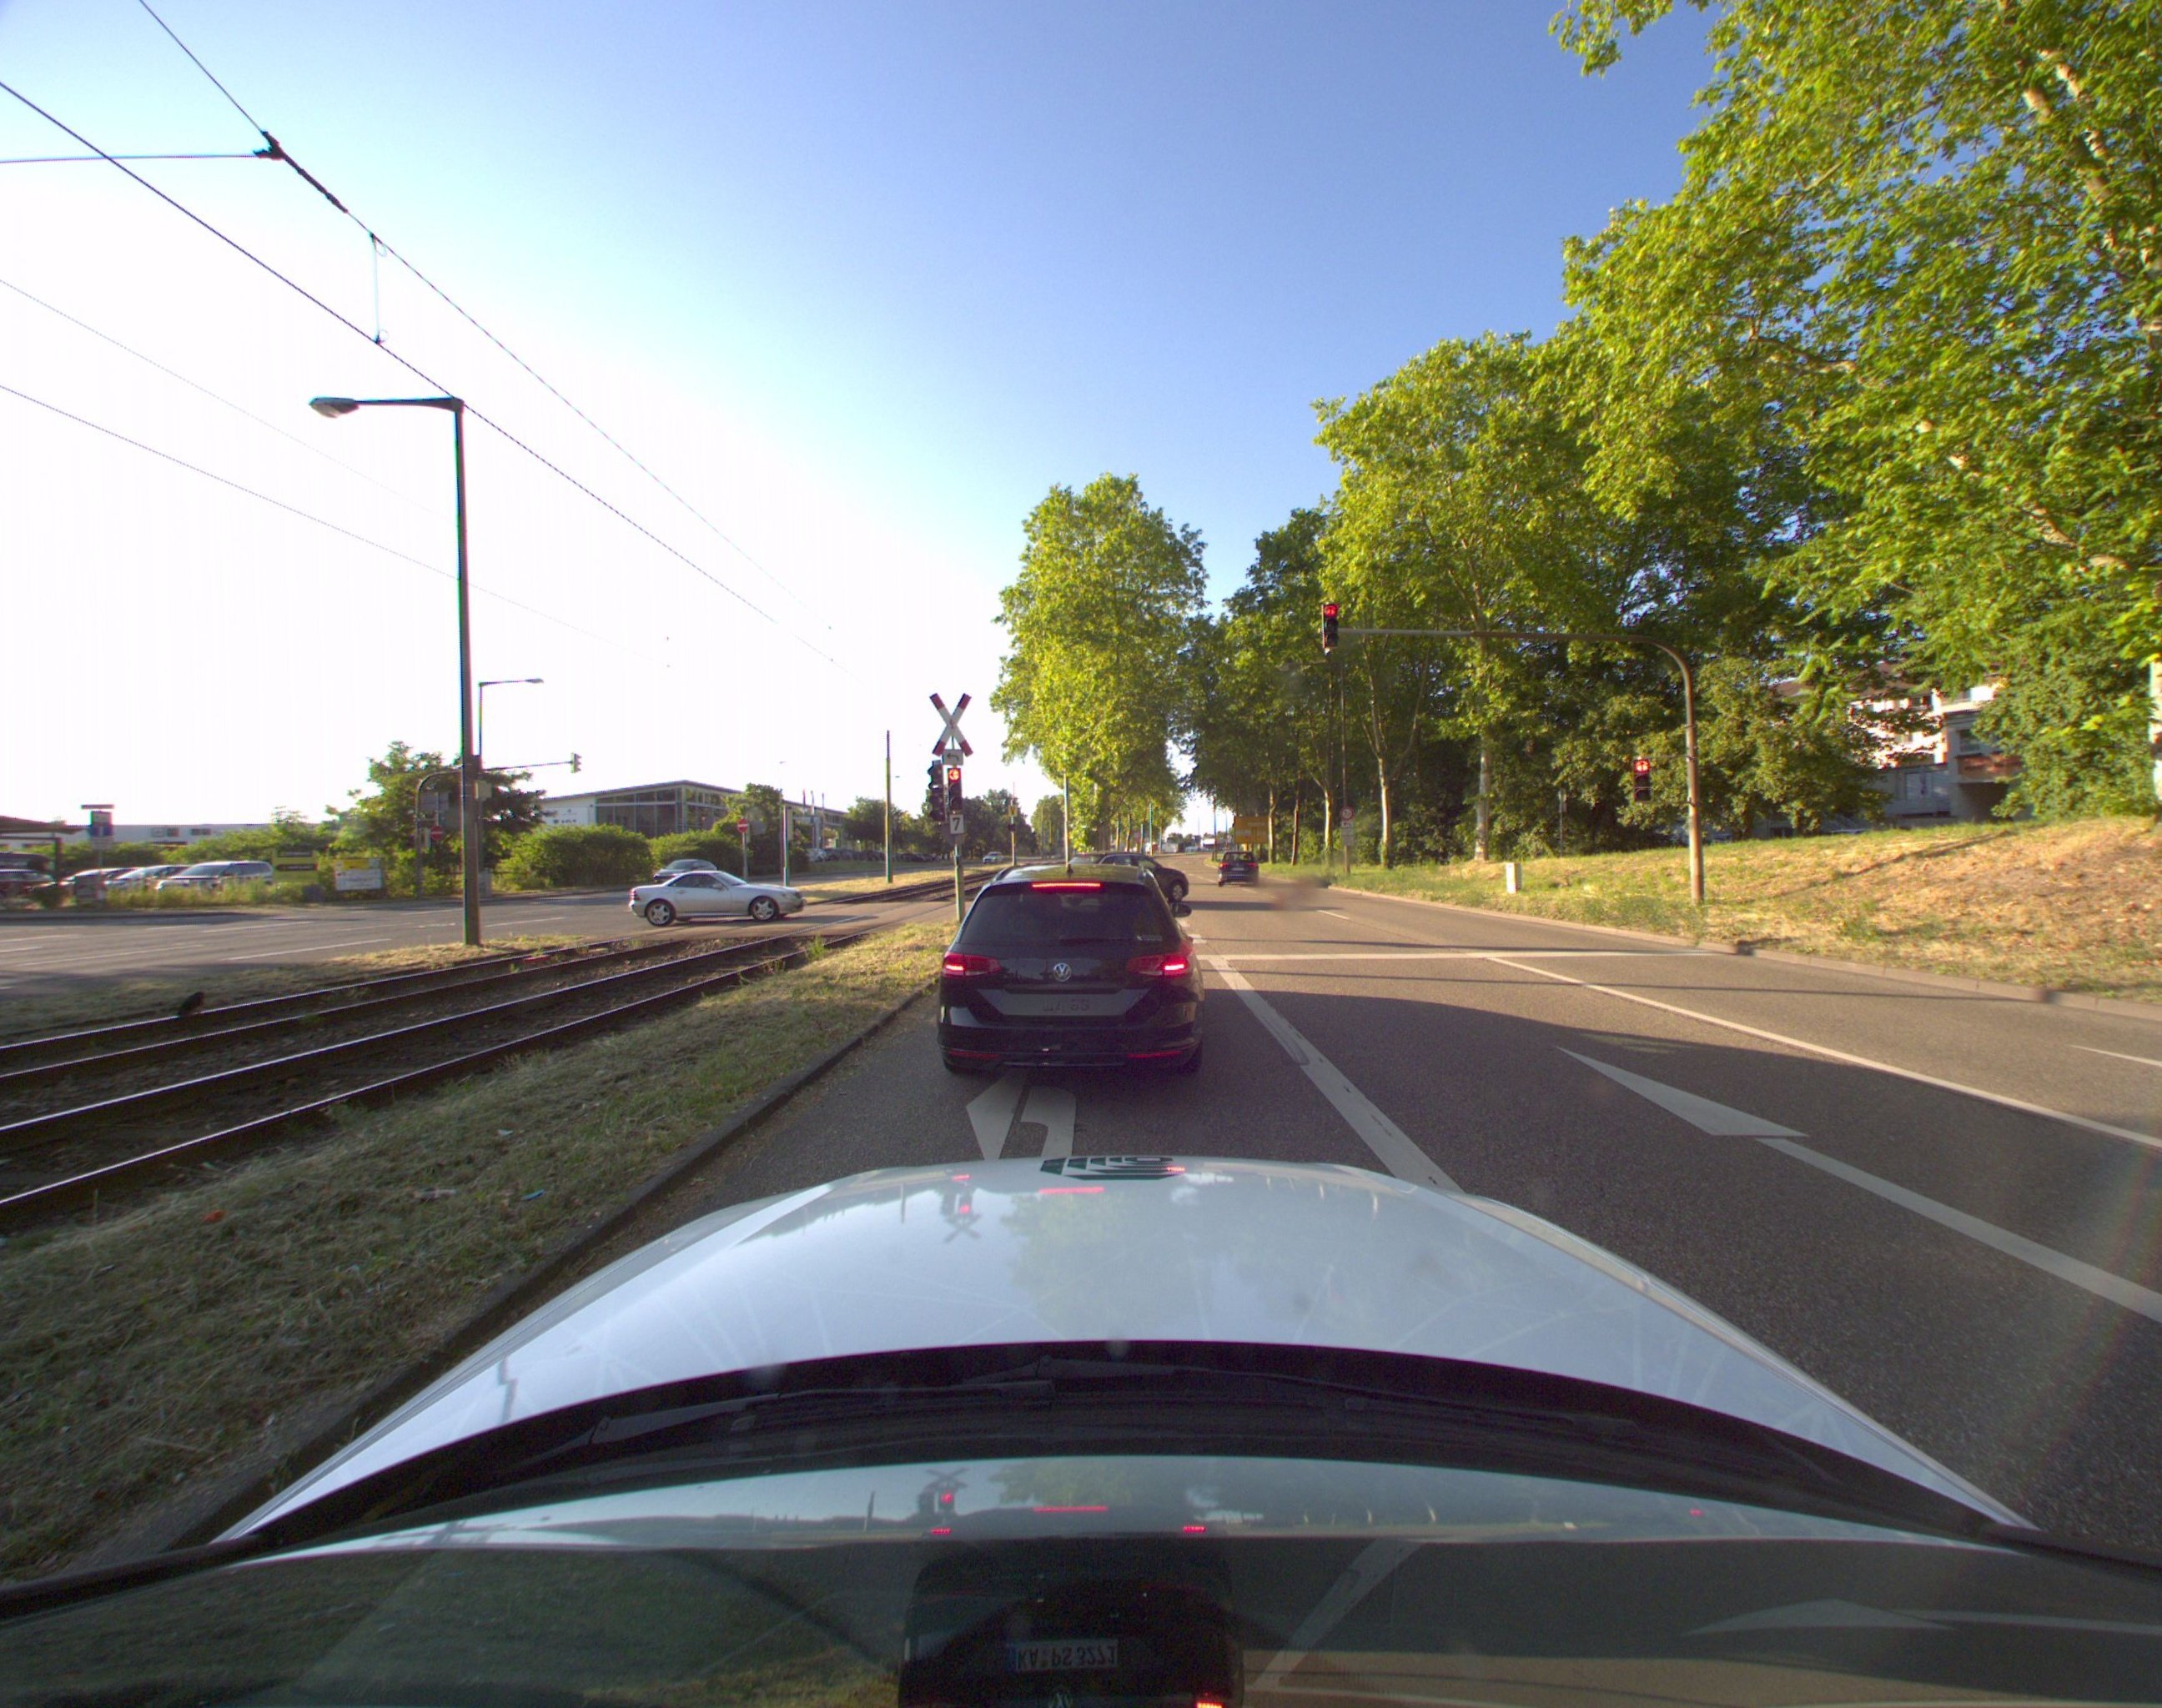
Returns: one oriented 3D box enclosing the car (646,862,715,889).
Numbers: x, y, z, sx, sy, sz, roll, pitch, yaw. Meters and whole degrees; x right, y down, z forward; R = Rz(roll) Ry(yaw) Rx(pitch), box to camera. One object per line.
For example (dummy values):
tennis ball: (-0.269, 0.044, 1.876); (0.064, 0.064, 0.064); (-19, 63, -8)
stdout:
car: (-23.719, 1.241, 48.431); (1.854, 1.481, 4.176); (0, 0, 3)

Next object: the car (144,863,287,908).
car: (-38.519, 1.338, 36.426); (1.855, 1.821, 4.174); (0, 0, 2)

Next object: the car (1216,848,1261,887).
car: (7.231, 0.588, 37.383); (1.860, 1.635, 4.383); (-1, 0, 11)

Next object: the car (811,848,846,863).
car: (-30.597, 0.145, 98.753); (3.999, 1.816, 1.732); (-1, 0, -19)

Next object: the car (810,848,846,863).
car: (-29.945, 0.181, 96.399); (3.999, 1.704, 1.732); (-1, 0, -19)

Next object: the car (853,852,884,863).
car: (-30.999, 0.538, 118.840); (3.980, 1.556, 1.741); (-1, 0, -5)

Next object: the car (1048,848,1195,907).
car: (1.234, 0.628, 23.745); (4.185, 1.561, 1.694); (0, 0, -38)

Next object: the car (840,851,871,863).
car: (-31.222, 0.455, 112.622); (3.999, 1.556, 1.732); (-1, 0, -19)

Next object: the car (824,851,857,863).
car: (-31.359, 0.362, 106.224); (3.999, 1.556, 1.732); (-1, 0, -19)

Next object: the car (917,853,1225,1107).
car: (-0.015, 0.737, 6.538); (1.788, 1.464, 3.584); (0, 0, 1)

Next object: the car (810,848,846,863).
car: (-29.256, 0.162, 94.130); (3.999, 1.704, 1.732); (-1, 0, -19)

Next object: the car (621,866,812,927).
car: (-8.912, 1.020, 20.185); (3.963, 1.294, 1.611); (-2, 0, -5)

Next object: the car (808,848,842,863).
car: (-31.640, 0.148, 100.534); (3.999, 1.816, 1.732); (-1, 0, -19)

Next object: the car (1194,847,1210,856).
car: (29.079, -0.581, 195.186); (2.075, 2.065, 4.910); (0, 0, 30)

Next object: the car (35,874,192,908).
car: (-42.466, 1.579, 35.904); (1.855, 1.267, 4.174); (0, 0, 2)

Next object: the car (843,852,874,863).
car: (-31.431, 0.493, 115.329); (3.983, 1.556, 1.739); (-1, 0, -7)

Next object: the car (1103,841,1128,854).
car: (6.406, -1.234, 150.411); (2.075, 2.461, 5.888); (0, 0, 29)

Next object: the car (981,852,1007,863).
car: (-11.489, 0.426, 107.862); (1.846, 1.481, 4.112); (0, 0, 20)

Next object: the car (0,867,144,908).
car: (-44.706, 1.420, 35.908); (1.855, 1.583, 4.174); (0, 0, 2)

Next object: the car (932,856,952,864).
car: (-28.804, 1.204, 168.935); (3.977, 1.556, 1.742); (-1, 0, -2)

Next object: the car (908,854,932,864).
car: (-29.097, 0.886, 146.855); (3.978, 1.621, 1.742); (-1, 0, -3)

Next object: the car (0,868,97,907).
car: (-47.155, 1.470, 36.060); (1.970, 1.583, 4.174); (0, 0, 2)

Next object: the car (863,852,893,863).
car: (-30.601, 0.564, 122.761); (3.978, 1.621, 1.742); (-1, 0, -3)

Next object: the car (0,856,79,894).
car: (-60.416, 1.174, 45.920); (1.855, 2.014, 4.773); (0, 0, 2)

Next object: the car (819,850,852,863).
car: (-31.145, 0.318, 103.433); (3.999, 1.556, 1.732); (-1, 0, -19)

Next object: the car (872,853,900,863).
car: (-30.112, 0.608, 125.963); (3.978, 1.621, 1.742); (-1, 0, -3)
